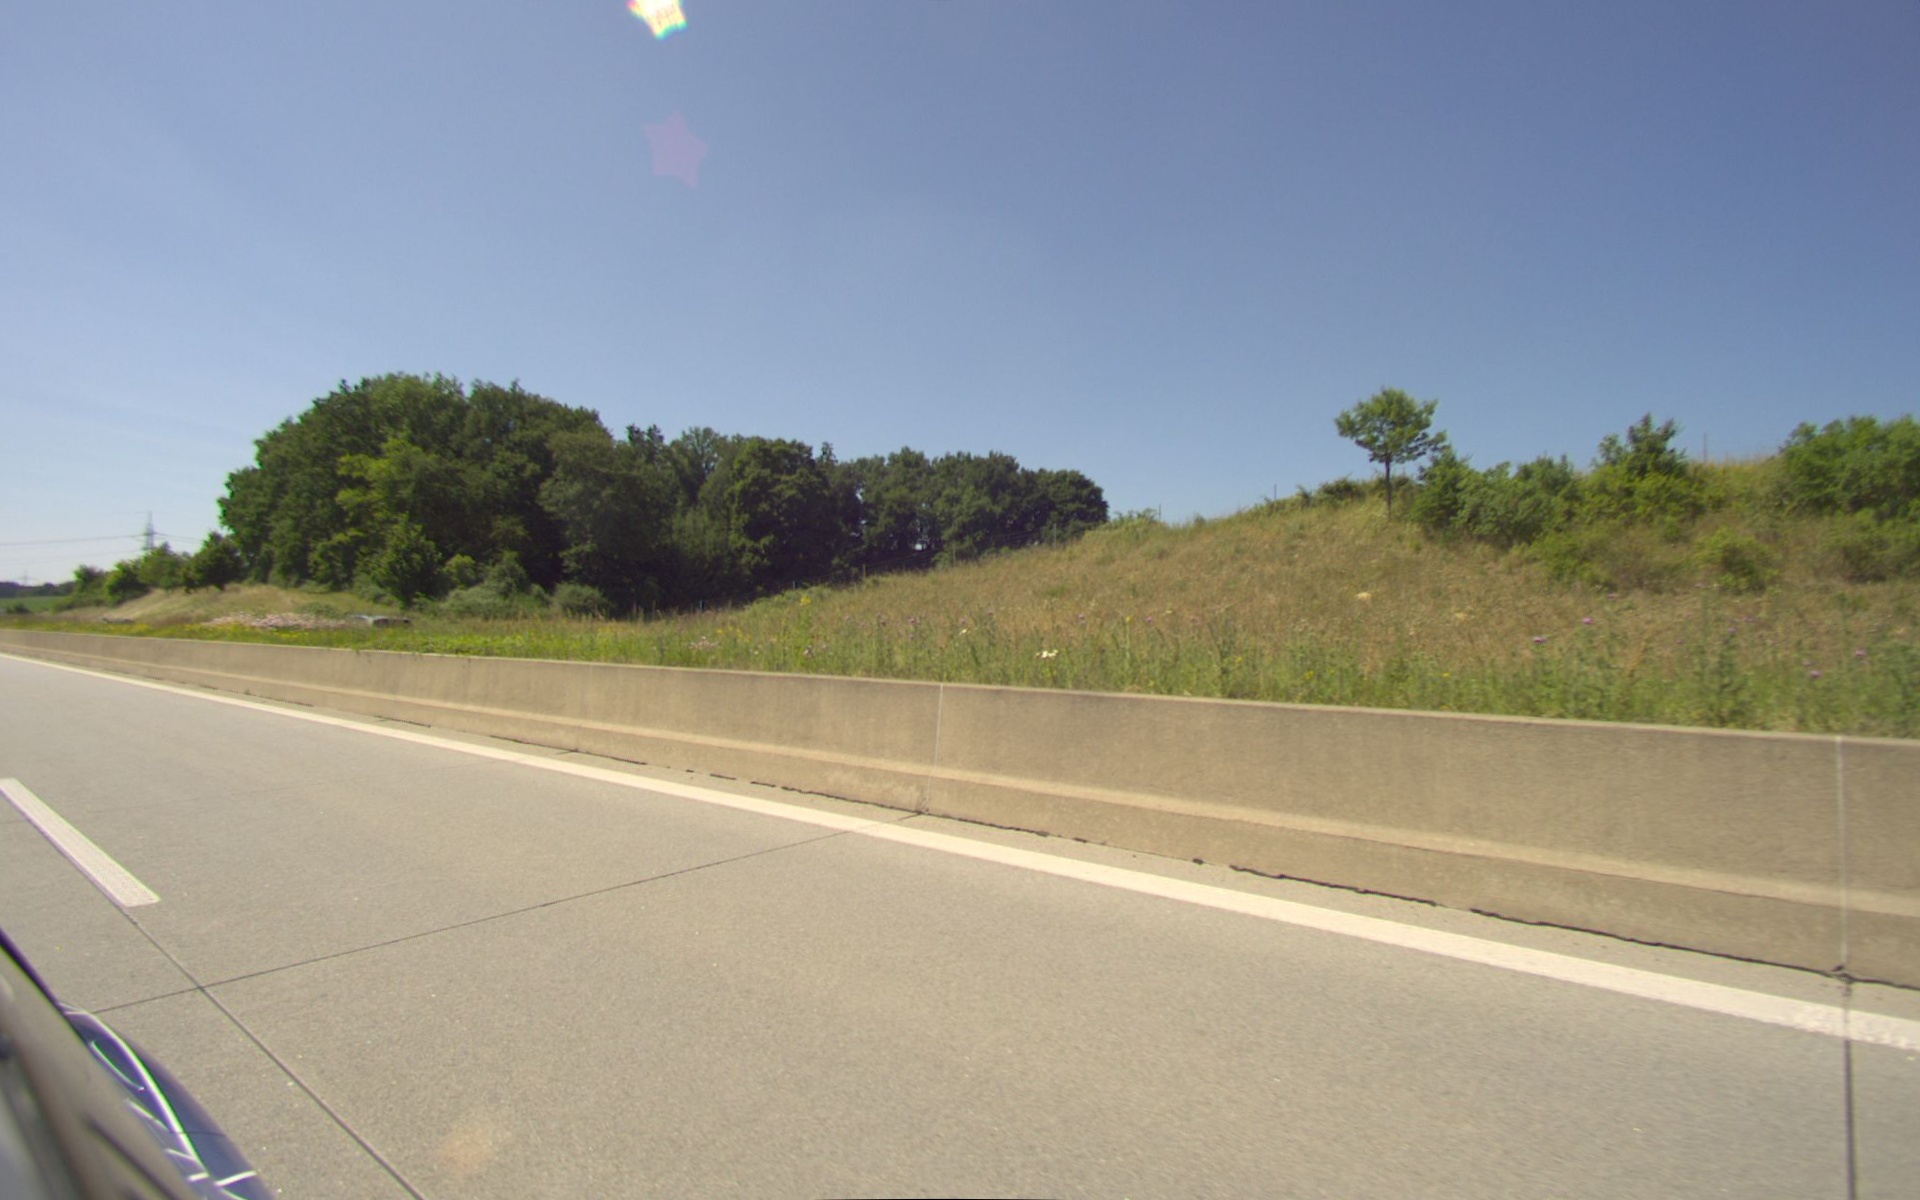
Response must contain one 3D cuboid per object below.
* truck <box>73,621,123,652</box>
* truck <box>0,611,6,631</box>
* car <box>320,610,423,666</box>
[{"bbox_3d":[-53.068,2.199,62.280,3.969,1.830,1.803,-1,-1,41],"label":"truck"},{"bbox_3d":[-169.174,3.631,176.714,8.256,3.378,2.864,-1,-2,42],"label":"truck"},{"bbox_3d":[-19.095,1.181,32.778,3.998,1.682,1.693,-1,0,41],"label":"car"}]
